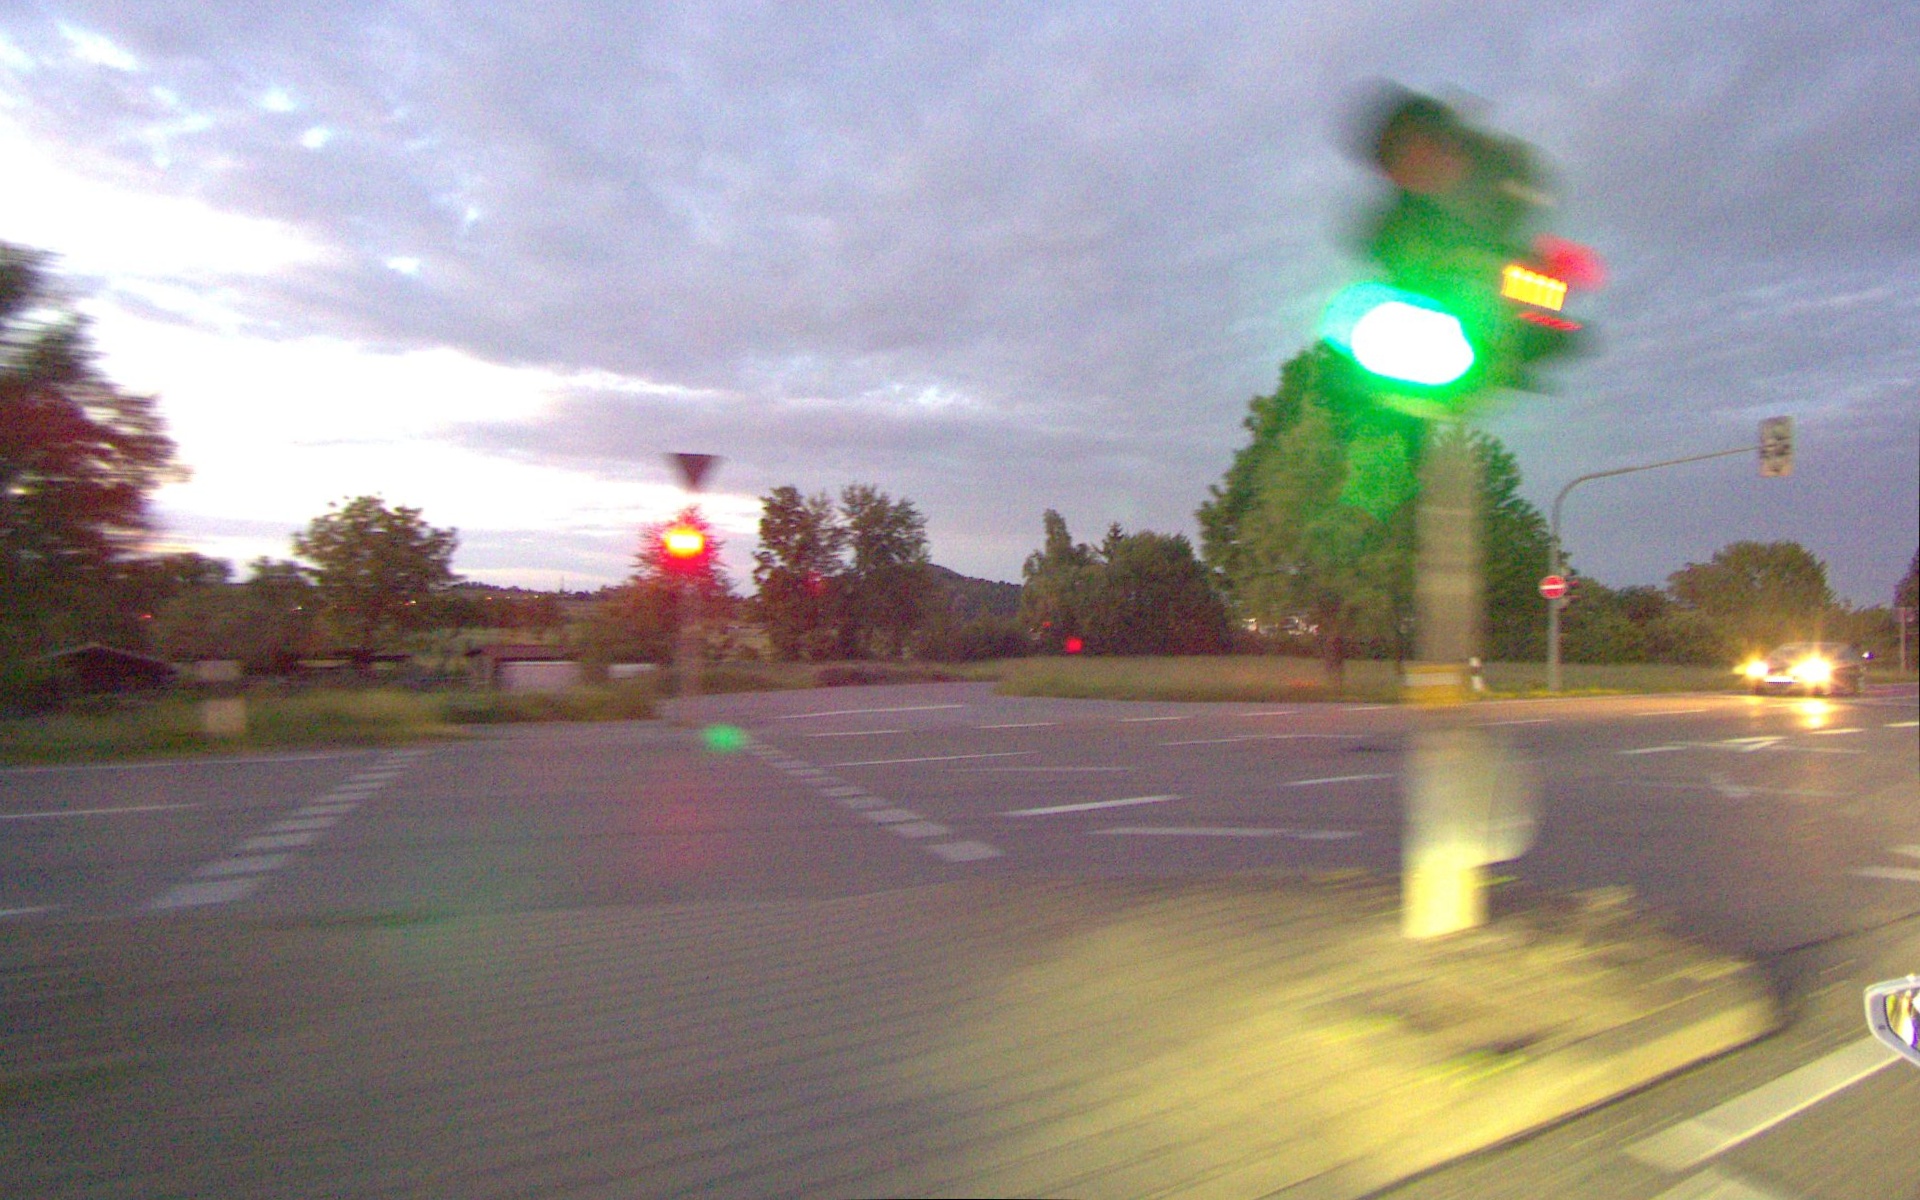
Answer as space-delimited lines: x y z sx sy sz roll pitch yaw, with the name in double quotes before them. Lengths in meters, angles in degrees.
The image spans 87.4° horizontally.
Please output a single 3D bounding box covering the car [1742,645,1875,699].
"car" 23.781 1.992 28.113 3.984 1.402 1.644 2 -4 -31
